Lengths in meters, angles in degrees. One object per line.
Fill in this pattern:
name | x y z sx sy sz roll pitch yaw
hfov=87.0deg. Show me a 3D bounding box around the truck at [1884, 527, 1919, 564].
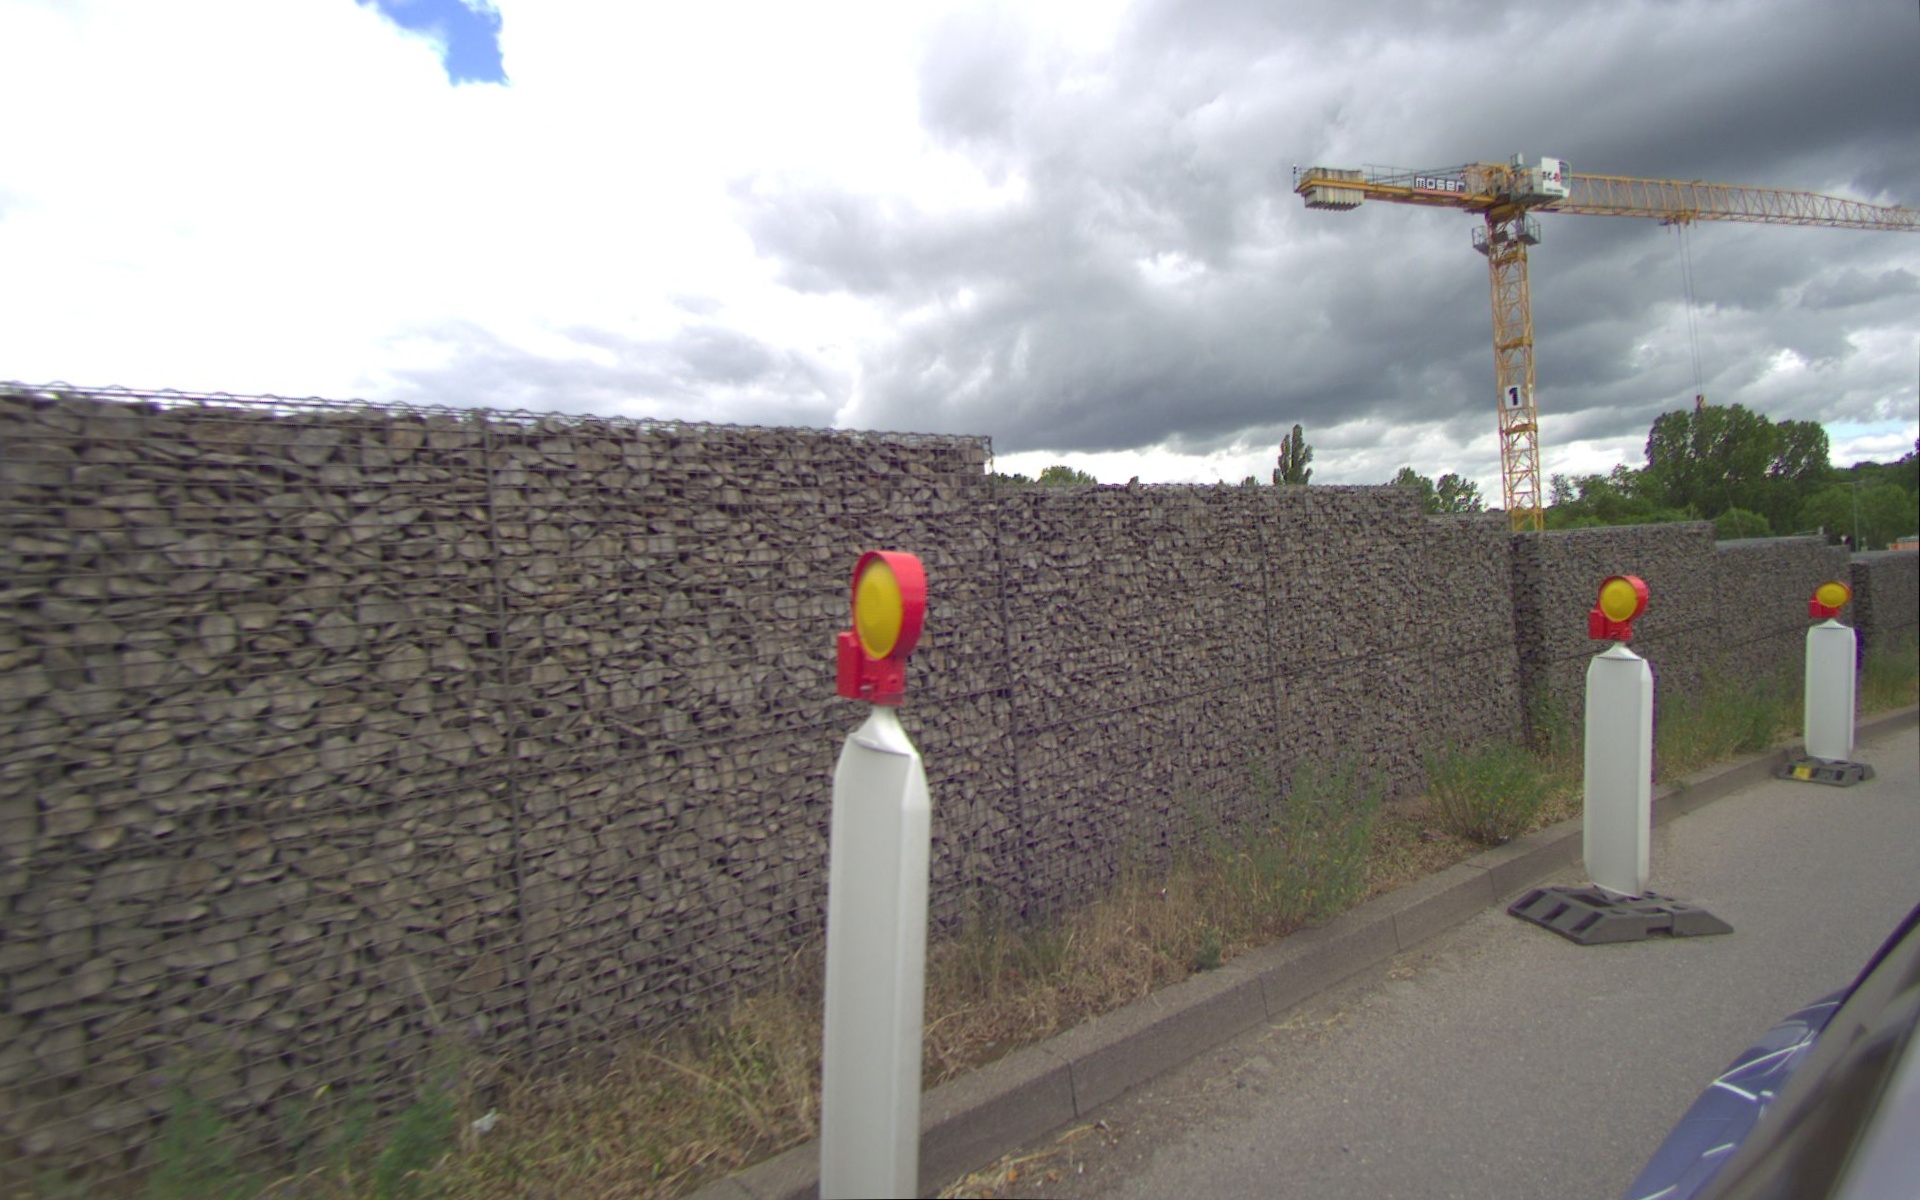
truck | 107.219 -6.180 111.107 2.989 3.946 9.985 -4 0 7
